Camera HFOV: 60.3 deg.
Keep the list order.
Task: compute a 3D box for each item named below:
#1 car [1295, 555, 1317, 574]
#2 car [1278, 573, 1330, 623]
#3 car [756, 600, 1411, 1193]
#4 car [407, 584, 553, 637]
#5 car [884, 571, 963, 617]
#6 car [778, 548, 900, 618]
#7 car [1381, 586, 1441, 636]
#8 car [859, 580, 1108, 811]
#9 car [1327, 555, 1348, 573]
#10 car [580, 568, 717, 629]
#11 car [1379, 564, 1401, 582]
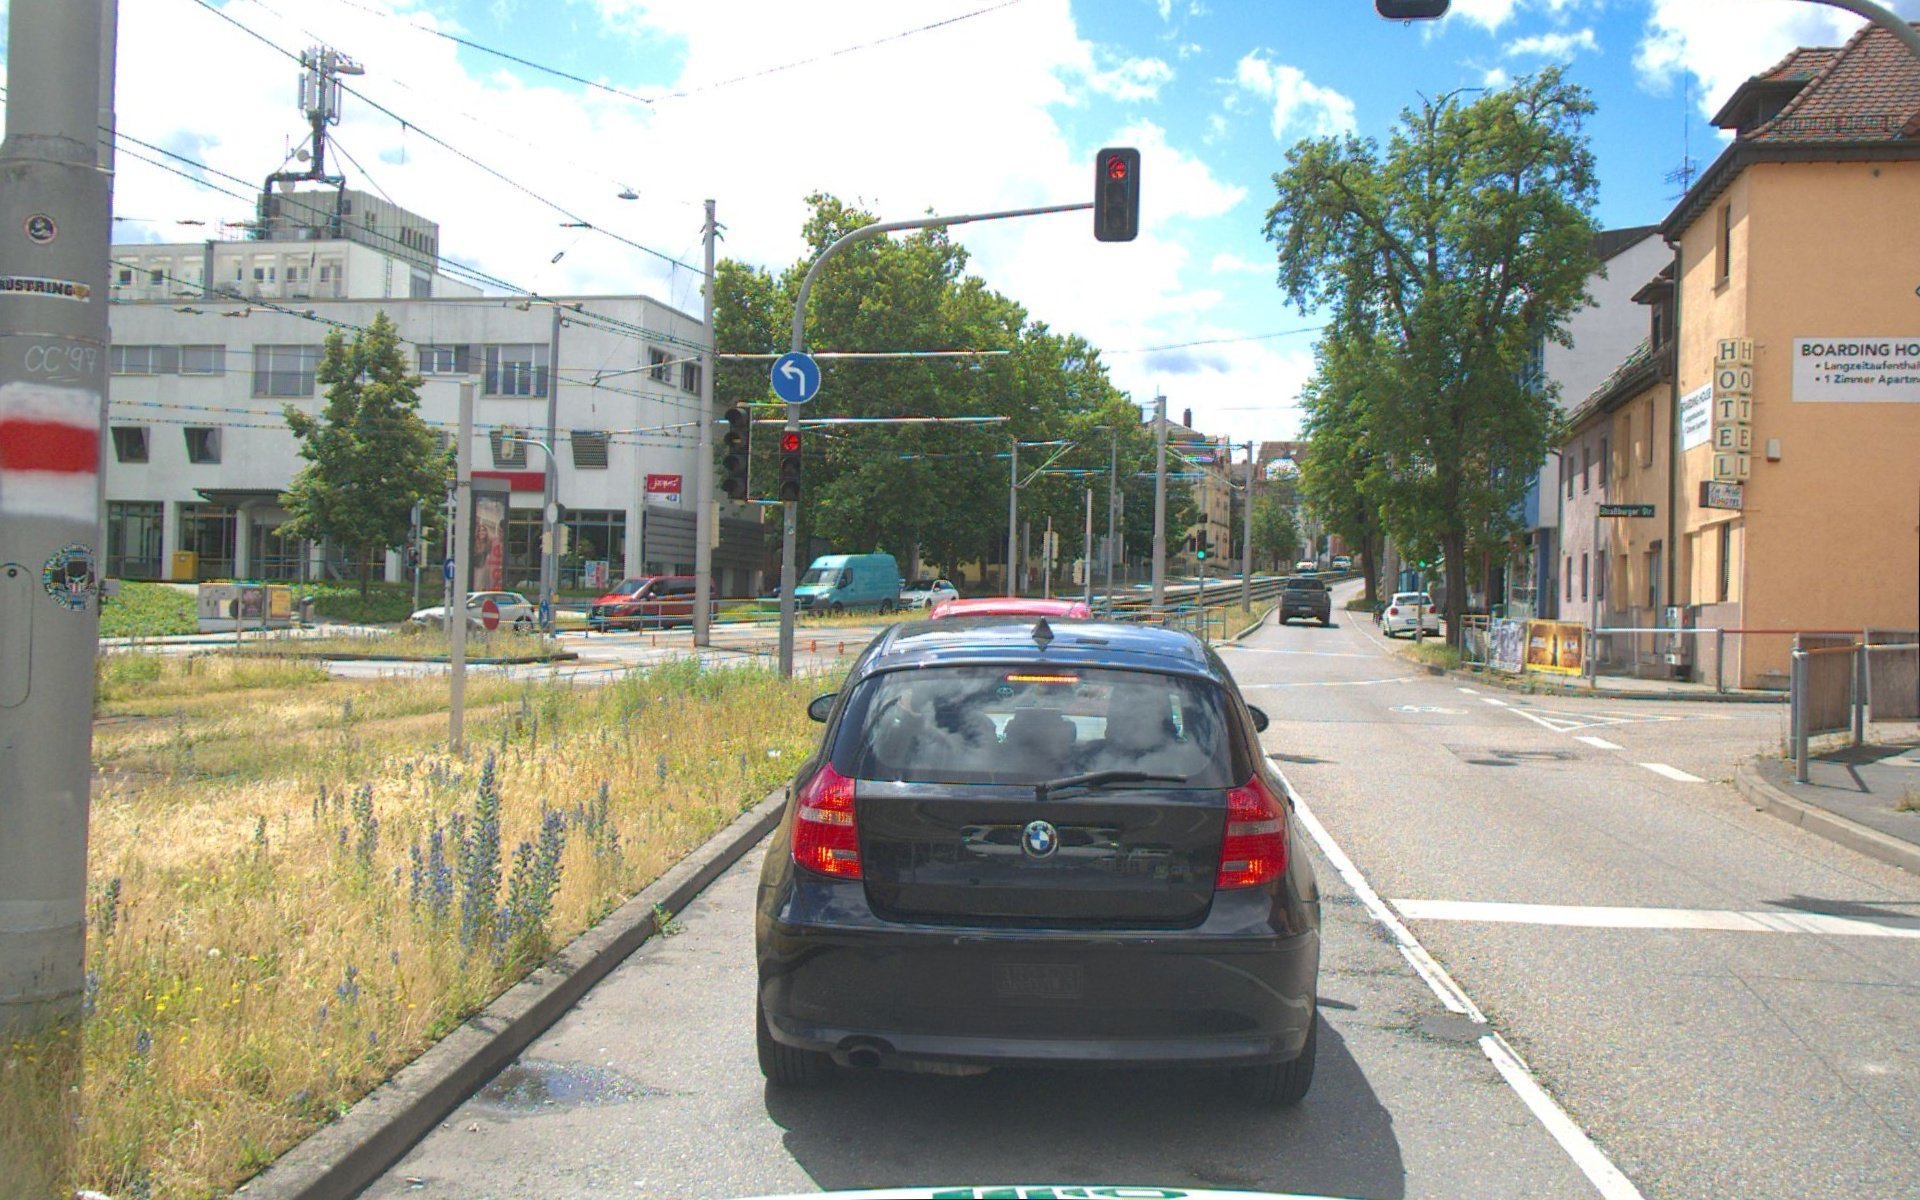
[{"bbox_3d":[39.425,-4.063,188.400,1.952,2.049,4.000,-1,-1,21],"label":"car"},{"bbox_3d":[13.801,-0.053,66.426,1.956,1.920,5.154,0,-1,12],"label":"car"},{"bbox_3d":[0.220,0.766,6.202,1.667,1.477,3.997,0,-1,-3],"label":"car"},{"bbox_3d":[-15.251,0.345,52.670,1.827,1.613,4.141,-1,-1,44],"label":"car"},{"bbox_3d":[-1.585,-0.240,73.504,1.814,1.962,4.798,-1,-1,21],"label":"car"},{"bbox_3d":[-4.871,-0.644,67.483,2.091,2.701,5.678,-1,-1,31],"label":"car"},{"bbox_3d":[15.286,0.372,56.160,1.749,1.624,4.003,0,-1,12],"label":"car"},{"bbox_3d":[0.324,0.647,12.815,1.590,1.499,4.002,0,-1,6],"label":"car"},{"bbox_3d":[47.428,-4.484,207.826,1.952,2.049,4.000,-1,-1,21],"label":"car"},{"bbox_3d":[-10.866,-0.032,57.972,1.822,2.044,4.777,-1,-1,37],"label":"car"},{"bbox_3d":[42.894,-2.705,164.934,1.951,1.691,4.002,-1,-1,17],"label":"car"}]
